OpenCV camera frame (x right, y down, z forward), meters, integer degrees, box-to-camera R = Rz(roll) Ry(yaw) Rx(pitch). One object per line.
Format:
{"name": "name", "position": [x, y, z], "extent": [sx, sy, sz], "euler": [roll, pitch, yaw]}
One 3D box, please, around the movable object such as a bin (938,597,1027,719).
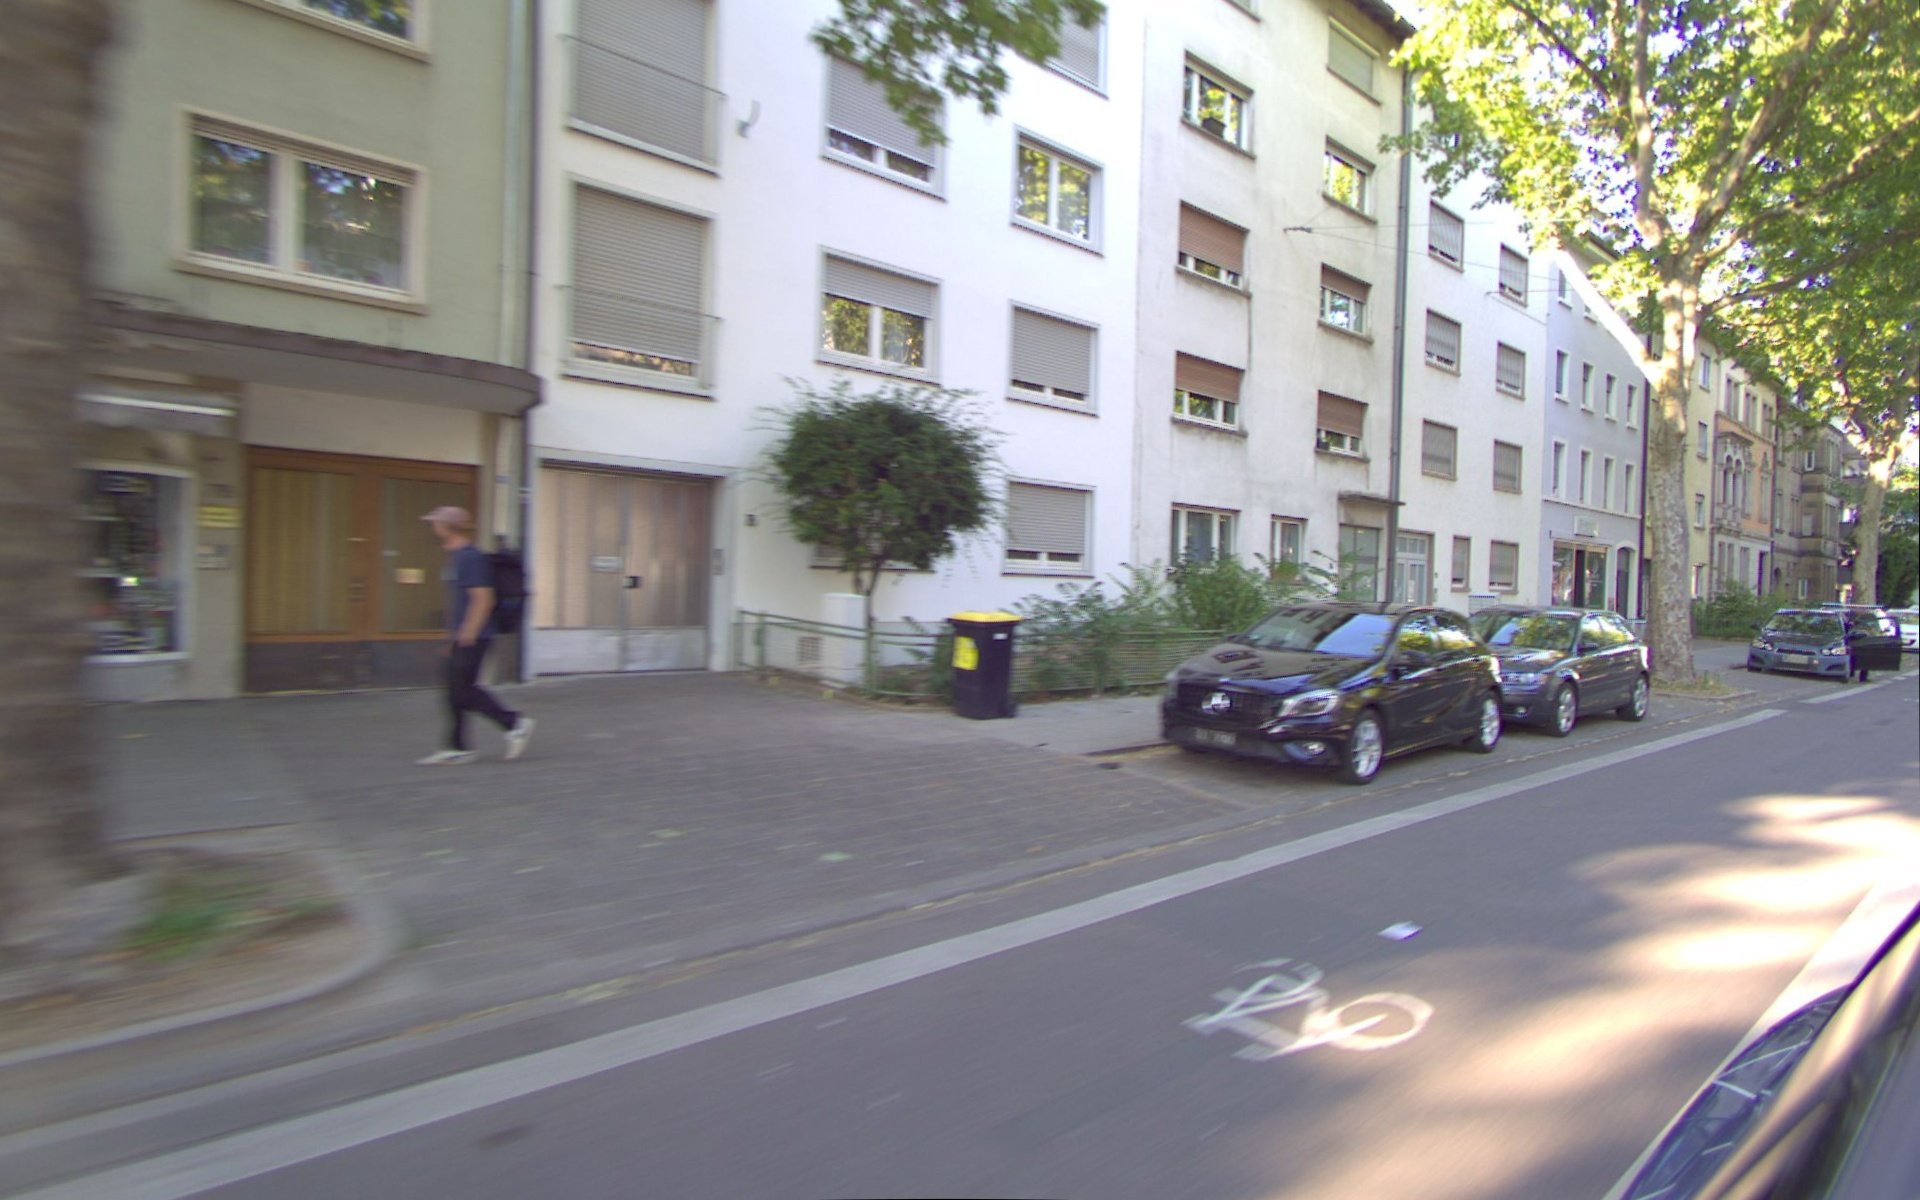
{"name": "movable object such as a bin", "position": [0.227, 0.569, 10.357], "extent": [0.655, 1.173, 0.616], "euler": [0, 1, -43]}

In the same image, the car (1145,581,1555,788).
{"name": "car", "position": [3.782, 0.602, 9.433], "extent": [4.287, 1.432, 1.712], "euler": [0, 3, -41]}

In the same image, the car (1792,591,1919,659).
{"name": "car", "position": [24.209, 0.601, 27.253], "extent": [4.583, 1.585, 1.998], "euler": [0, 3, -41]}

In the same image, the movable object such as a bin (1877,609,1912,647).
{"name": "movable object such as a bin", "position": [28.859, 0.857, 31.257], "extent": [0.658, 1.130, 0.682], "euler": [0, -1, -39]}

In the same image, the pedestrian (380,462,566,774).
{"name": "pedestrian", "position": [-3.452, 0.104, 7.177], "extent": [0.994, 2.038, 0.684], "euler": [1, 3, -41]}

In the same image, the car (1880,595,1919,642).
{"name": "car", "position": [33.951, 0.636, 35.731], "extent": [4.121, 1.545, 1.701], "euler": [0, 1, -41]}

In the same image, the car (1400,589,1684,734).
{"name": "car", "position": [7.367, 0.629, 12.635], "extent": [4.287, 1.432, 1.712], "euler": [0, 3, -41]}

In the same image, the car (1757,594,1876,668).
{"name": "car", "position": [19.294, 0.629, 22.752], "extent": [1.744, 1.482, 3.961], "euler": [2, 1, 44]}

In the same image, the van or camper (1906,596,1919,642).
{"name": "van or camper", "position": [38.720, 0.783, 39.670], "extent": [4.301, 1.741, 1.790], "euler": [0, 2, -40]}

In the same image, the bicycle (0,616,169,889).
{"name": "bicycle", "position": [-4.595, 0.653, 4.111], "extent": [0.764, 1.145, 2.061], "euler": [-1, -1, 28]}
